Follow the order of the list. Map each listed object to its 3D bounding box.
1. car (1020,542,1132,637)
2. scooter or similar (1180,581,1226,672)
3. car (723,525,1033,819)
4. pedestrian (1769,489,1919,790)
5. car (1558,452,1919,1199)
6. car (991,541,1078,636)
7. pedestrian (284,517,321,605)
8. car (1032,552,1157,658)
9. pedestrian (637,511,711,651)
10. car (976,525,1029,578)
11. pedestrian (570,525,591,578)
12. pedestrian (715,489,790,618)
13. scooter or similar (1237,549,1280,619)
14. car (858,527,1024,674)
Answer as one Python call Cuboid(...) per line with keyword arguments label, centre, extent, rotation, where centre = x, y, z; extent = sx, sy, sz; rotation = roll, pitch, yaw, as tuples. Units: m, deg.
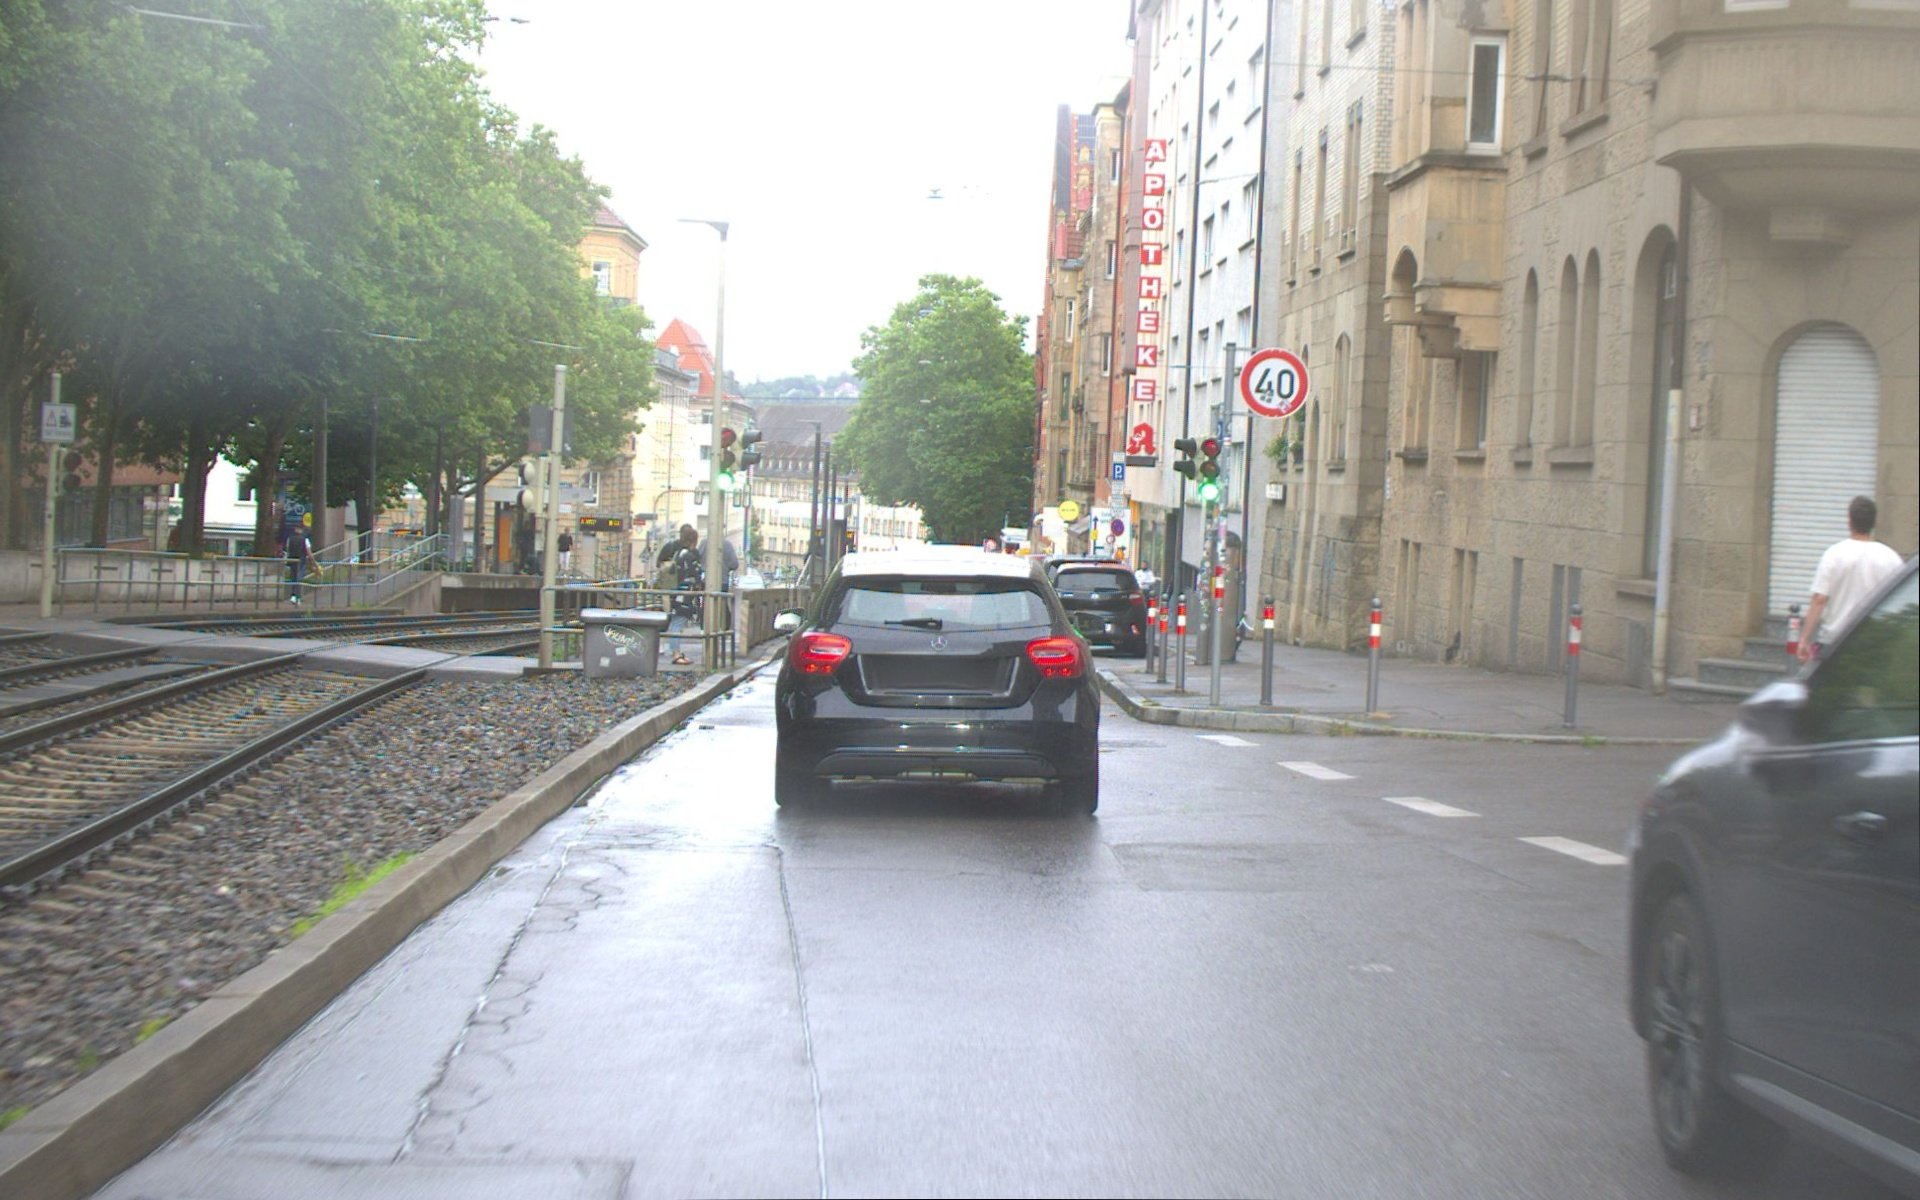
Cuboid(label="car", centre=(1.994, -0.216, 59.946), extent=(1.759, 1.573, 4.000), rotation=(0, 1, -1))
Cuboid(label="scooter or similar", centre=(3.636, 0.385, 51.510), extent=(0.448, 1.316, 1.778), rotation=(0, 1, -3))
Cuboid(label="car", centre=(-0.463, 0.345, 19.762), extent=(1.580, 1.499, 3.575), rotation=(2, 1, -1))
Cuboid(label="pedestrian", centre=(5.341, 0.225, 20.779), extent=(0.694, 1.781, 0.758), rotation=(0, 1, -2))
Cuboid(label="car", centre=(2.619, 0.580, 7.030), extent=(1.766, 1.662, 4.333), rotation=(2, 1, -3))
Cuboid(label="car", centre=(1.619, -0.281, 75.651), extent=(1.759, 2.007, 4.000), rotation=(0, 1, -1))
Cuboid(label="pedestrian", centre=(-13.338, -0.788, 69.782), extent=(0.534, 1.748, 0.607), rotation=(4, 1, 0))
Cuboid(label="car", centre=(2.144, 0.056, 55.689), extent=(1.827, 1.612, 3.864), rotation=(0, 1, 0))
Cuboid(label="pedestrian", centre=(-3.372, -0.235, 40.622), extent=(0.806, 1.628, 0.892), rotation=(0, 1, 0))
Cuboid(label="car", centre=(1.625, -1.883, 132.663), extent=(1.993, 2.007, 4.000), rotation=(0, 1, 0))
Cuboid(label="pedestrian", centre=(-12.495, -1.611, 113.141), extent=(0.518, 1.711, 0.551), rotation=(4, 1, 0))
Cuboid(label="pedestrian", centre=(-3.248, -0.726, 53.728), extent=(1.137, 1.991, 1.173), rotation=(0, 1, -4))
Cuboid(label="scooter or similar", centre=(5.765, -0.314, 66.441), extent=(0.448, 1.316, 1.778), rotation=(0, 1, -8))
Cuboid(label="car", centre=(-0.233, -0.031, 39.840), extent=(1.785, 1.575, 4.000), rotation=(2, 1, -1))
